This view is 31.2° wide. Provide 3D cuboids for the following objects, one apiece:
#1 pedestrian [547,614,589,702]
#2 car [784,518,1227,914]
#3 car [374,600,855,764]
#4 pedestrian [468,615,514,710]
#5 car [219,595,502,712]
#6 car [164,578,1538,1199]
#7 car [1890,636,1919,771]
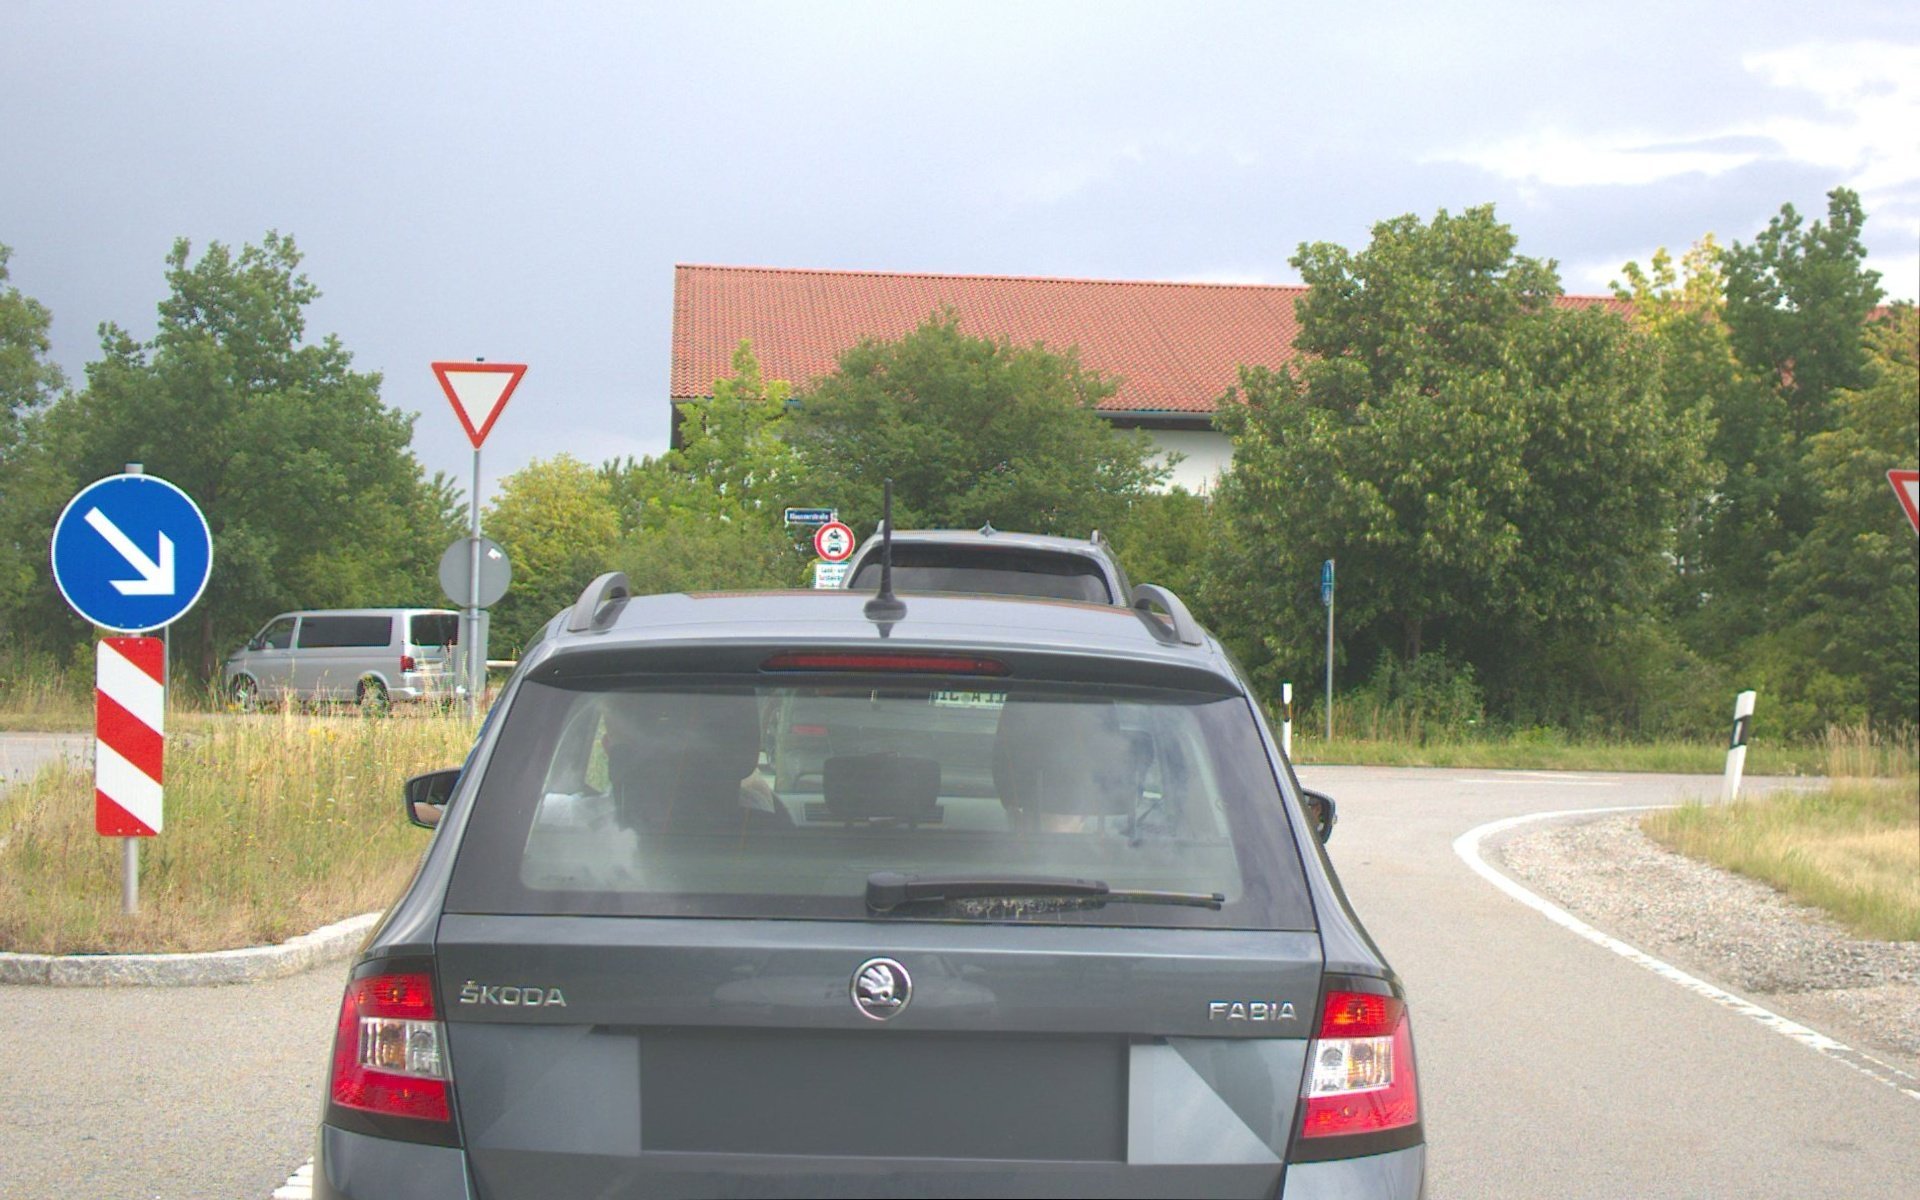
[{"bbox_3d":[-7.624,1.124,66.859,0.584,1.677,0.565,1,0,22],"label":"pedestrian"},{"bbox_3d":[0.180,0.575,18.199,1.993,1.768,4.644,2,-1,-1],"label":"car"},{"bbox_3d":[-3.215,0.710,31.592,4.350,1.340,1.678,1,0,35],"label":"car"},{"bbox_3d":[-8.633,1.150,63.322,0.529,1.720,0.640,1,0,34],"label":"pedestrian"},{"bbox_3d":[-11.103,0.954,63.569,4.908,2.007,2.337,1,1,35],"label":"car"},{"bbox_3d":[-0.159,0.703,6.079,1.676,1.458,3.708,1,0,-1],"label":"car"},{"bbox_3d":[13.557,1.253,41.272,4.210,1.596,2.000,0,0,-3],"label":"car"}]
